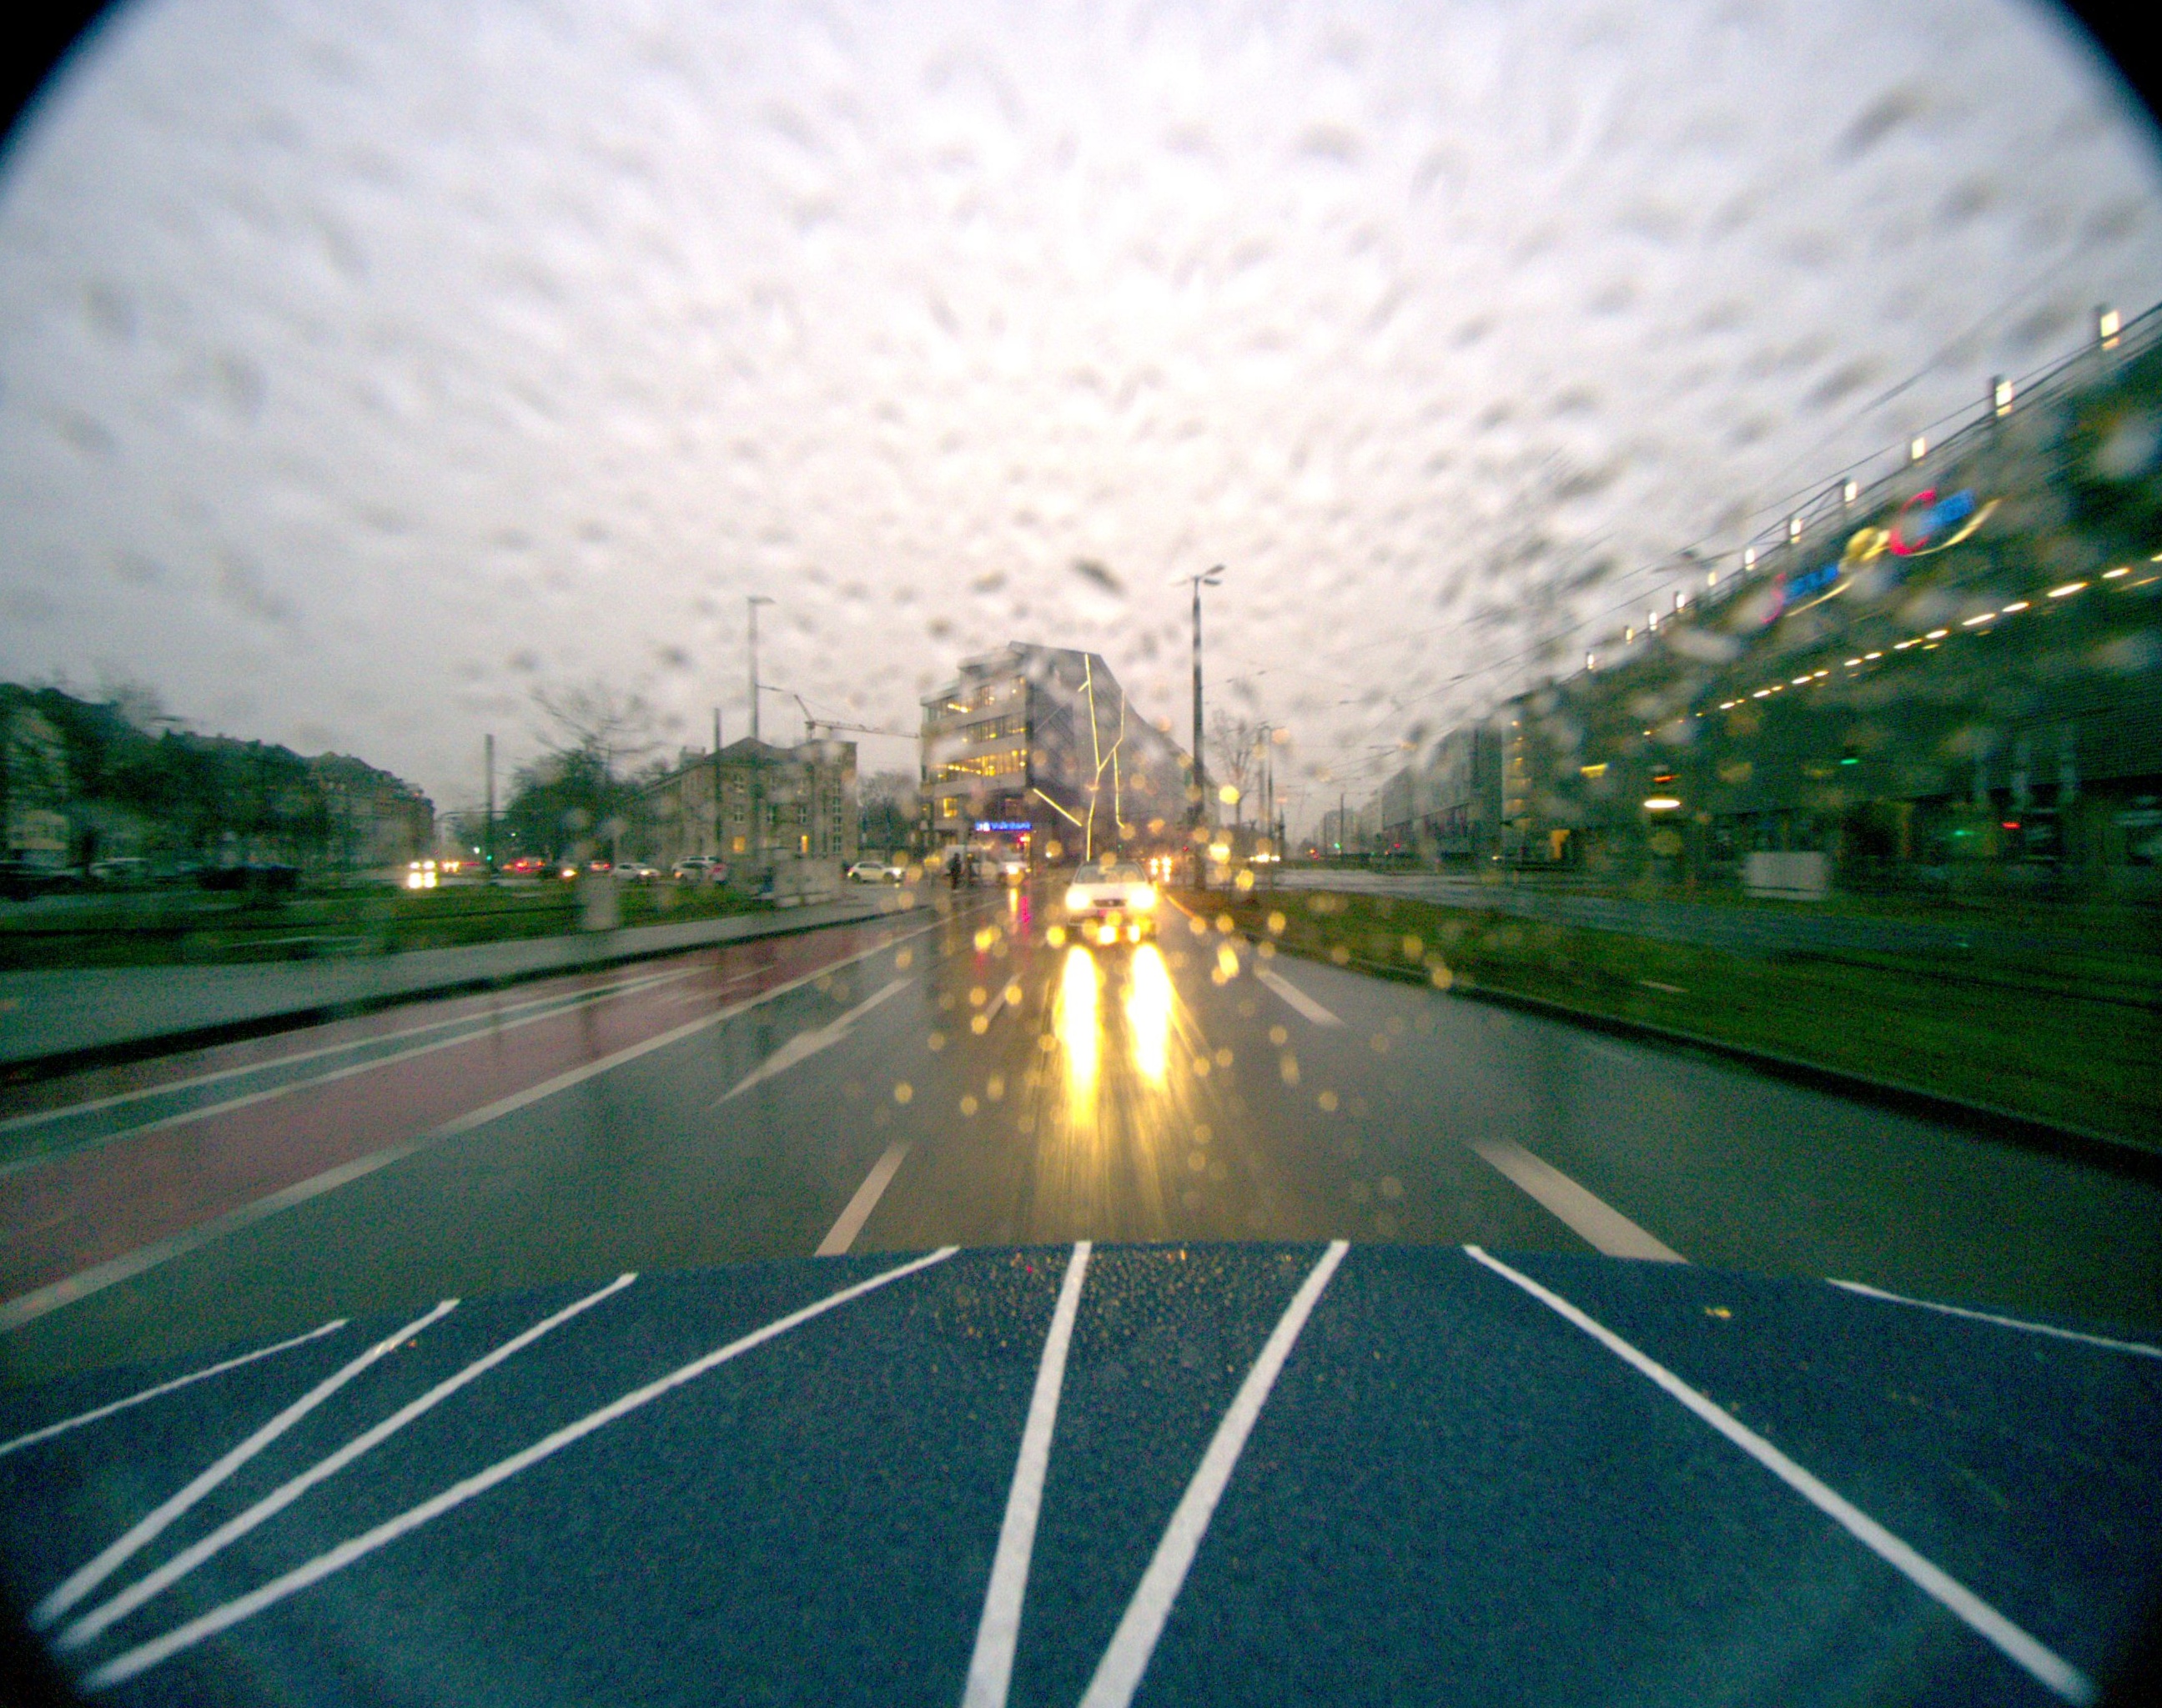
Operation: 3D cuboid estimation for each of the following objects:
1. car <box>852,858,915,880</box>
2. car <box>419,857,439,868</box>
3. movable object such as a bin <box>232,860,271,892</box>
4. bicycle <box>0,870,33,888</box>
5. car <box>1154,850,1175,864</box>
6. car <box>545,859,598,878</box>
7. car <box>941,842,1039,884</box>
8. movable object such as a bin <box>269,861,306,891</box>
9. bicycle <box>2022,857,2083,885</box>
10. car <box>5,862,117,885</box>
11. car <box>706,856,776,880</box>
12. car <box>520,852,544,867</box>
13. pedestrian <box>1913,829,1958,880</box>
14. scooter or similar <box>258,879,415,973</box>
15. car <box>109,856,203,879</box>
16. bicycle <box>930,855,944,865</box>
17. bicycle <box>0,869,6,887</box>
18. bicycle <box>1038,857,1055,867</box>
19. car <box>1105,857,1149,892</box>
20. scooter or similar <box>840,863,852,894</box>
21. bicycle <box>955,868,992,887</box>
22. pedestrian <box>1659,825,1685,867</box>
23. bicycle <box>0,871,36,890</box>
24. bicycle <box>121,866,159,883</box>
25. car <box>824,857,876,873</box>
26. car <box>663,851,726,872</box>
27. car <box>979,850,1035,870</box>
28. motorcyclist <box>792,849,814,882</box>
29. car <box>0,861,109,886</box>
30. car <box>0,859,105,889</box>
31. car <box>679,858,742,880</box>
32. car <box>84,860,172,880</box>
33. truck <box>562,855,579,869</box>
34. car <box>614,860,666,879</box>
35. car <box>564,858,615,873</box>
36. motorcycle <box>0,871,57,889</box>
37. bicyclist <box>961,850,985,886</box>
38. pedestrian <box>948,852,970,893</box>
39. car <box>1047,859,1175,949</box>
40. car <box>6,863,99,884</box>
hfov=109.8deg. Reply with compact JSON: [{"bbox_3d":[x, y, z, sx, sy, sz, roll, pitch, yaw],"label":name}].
[{"bbox_3d":[-13.993,1.056,53.999,3.911,1.455,1.765,0,2,12],"label":"car"},{"bbox_3d":[-85.519,1.071,99.705,1.756,1.362,3.604,-1,0,-37],"label":"car"},{"bbox_3d":[-42.171,1.106,38.639,1.055,1.566,1.137,-1,1,-34],"label":"movable object such as a bin"},{"bbox_3d":[-54.052,1.248,38.021,0.445,0.926,1.799,0,-1,27],"label":"bicycle"},{"bbox_3d":[10.095,0.330,91.890,1.830,1.652,4.005,0,0,16],"label":"car"},{"bbox_3d":[-41.450,1.167,61.785,4.159,1.466,1.881,-1,1,30],"label":"car"},{"bbox_3d":[-5.619,0.539,46.773,5.654,2.449,2.247,0,1,28],"label":"car"},{"bbox_3d":[-41.054,1.130,39.346,1.055,1.501,1.249,-1,1,-34],"label":"movable object such as a bin"},{"bbox_3d":[42.432,0.735,33.216,0.476,1.115,2.093,0,2,15],"label":"bicycle"},{"bbox_3d":[-61.175,1.153,45.645,1.665,1.298,3.694,0,0,20],"label":"car"},{"bbox_3d":[-23.529,0.962,52.583,4.000,1.590,1.904,0,0,9],"label":"car"},{"bbox_3d":[-77.054,0.740,106.636,1.908,1.861,4.948,-3,3,-44],"label":"car"},{"bbox_3d":[41.708,0.009,37.112,0.964,2.425,1.115,0,2,16],"label":"pedestrian"},{"bbox_3d":[-11.232,1.044,11.542,0.669,1.220,1.558,0,2,12],"label":"scooter or similar"},{"bbox_3d":[-72.911,1.033,59.977,1.777,1.757,4.352,0,0,21],"label":"car"},{"bbox_3d":[-16.407,0.723,86.513,1.500,1.121,0.527,-1,1,-37],"label":"bicycle"},{"bbox_3d":[-56.964,1.235,39.104,0.445,0.926,1.799,0,-1,27],"label":"bicycle"},{"bbox_3d":[-3.712,0.864,81.601,1.598,1.064,0.643,-1,0,16],"label":"bicycle"},{"bbox_3d":[1.985,0.862,33.690,1.723,1.380,3.821,0,1,1],"label":"car"},{"bbox_3d":[-9.654,0.994,31.260,0.334,1.199,1.308,-1,1,-11],"label":"scooter or similar"},{"bbox_3d":[-5.725,1.257,40.416,1.862,0.968,0.658,0,1,23],"label":"bicycle"},{"bbox_3d":[40.750,-0.557,52.402,1.111,2.909,0.967,0,2,16],"label":"pedestrian"},{"bbox_3d":[-53.565,1.303,37.790,0.445,0.926,1.799,0,-1,27],"label":"bicycle"},{"bbox_3d":[-58.907,1.286,47.569,0.537,1.012,1.905,1,-1,-19],"label":"bicycle"},{"bbox_3d":[-21.313,0.985,70.184,4.414,1.436,1.631,0,0,19],"label":"car"},{"bbox_3d":[-37.864,0.754,74.451,5.649,2.047,1.956,0,0,17],"label":"car"},{"bbox_3d":[-6.594,0.525,67.652,4.599,1.709,1.932,0,0,22],"label":"car"},{"bbox_3d":[-16.250,0.670,44.381,0.919,1.871,0.888,0,1,42],"label":"motorcyclist"},{"bbox_3d":[-59.423,1.089,43.854,1.738,1.298,3.694,0,0,20],"label":"car"},{"bbox_3d":[-57.674,1.077,42.039,1.738,1.560,4.163,0,0,20],"label":"car"},{"bbox_3d":[-27.960,1.097,57.403,4.214,1.590,1.678,0,0,15],"label":"car"},{"bbox_3d":[-69.267,1.126,55.279,1.517,1.391,3.694,0,0,22],"label":"car"},{"bbox_3d":[-74.100,1.185,110.176,1.842,2.032,3.989,-1,0,-36],"label":"truck"},{"bbox_3d":[-34.378,1.205,59.220,3.339,1.422,1.693,0,1,20],"label":"car"},{"bbox_3d":[-50.223,1.146,77.692,4.333,1.477,1.868,0,0,14],"label":"car"},{"bbox_3d":[-54.873,1.335,39.547,0.511,0.926,1.799,0,-1,21],"label":"motorcycle"},{"bbox_3d":[-5.764,0.737,40.497,0.987,1.879,0.794,0,1,23],"label":"bicyclist"},{"bbox_3d":[-5.635,0.826,35.047,0.777,1.867,0.633,-1,1,-36],"label":"pedestrian"},{"bbox_3d":[0.753,0.877,14.920,1.786,1.371,4.226,-2,1,12],"label":"car"},{"bbox_3d":[-67.324,1.236,49.802,1.517,1.298,3.306,0,0,22],"label":"car"}]
